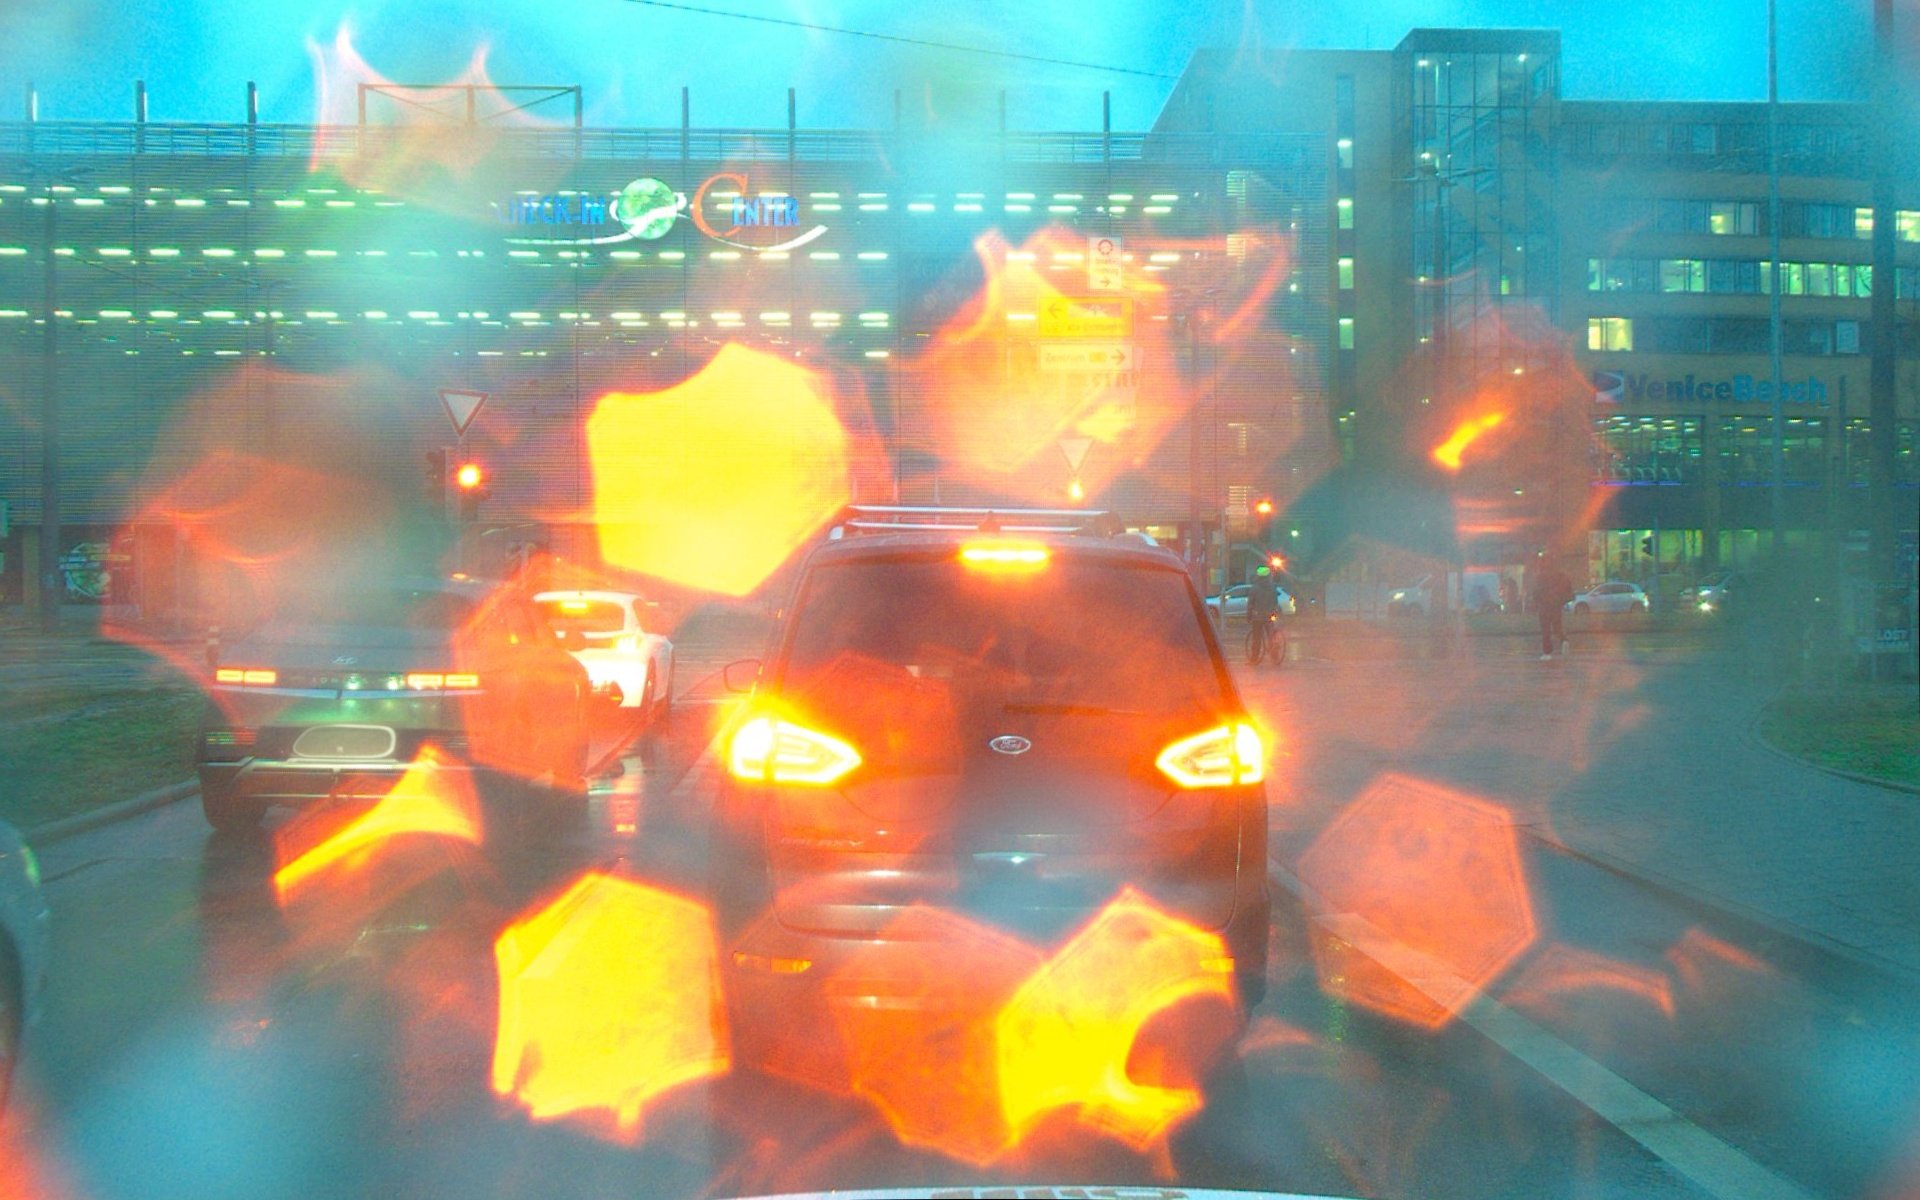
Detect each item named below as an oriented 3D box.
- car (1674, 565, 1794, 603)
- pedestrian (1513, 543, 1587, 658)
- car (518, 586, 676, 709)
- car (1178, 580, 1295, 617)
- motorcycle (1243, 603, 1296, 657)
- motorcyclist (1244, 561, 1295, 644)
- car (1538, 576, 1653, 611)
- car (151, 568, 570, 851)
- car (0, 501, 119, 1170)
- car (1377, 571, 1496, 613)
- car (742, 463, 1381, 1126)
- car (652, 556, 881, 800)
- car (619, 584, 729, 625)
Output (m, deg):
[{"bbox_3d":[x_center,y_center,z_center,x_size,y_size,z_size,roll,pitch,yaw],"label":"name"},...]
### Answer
[{"bbox_3d":[32.731,-0.673,69.955,4.348,1.561,1.797,-1,0,-8],"label":"car"},{"bbox_3d":[10.466,0.006,29.339,1.146,1.957,0.898,2,0,22],"label":"pedestrian"},{"bbox_3d":[-4.148,0.489,19.371,1.512,1.273,4.060,0,0,-8],"label":"car"},{"bbox_3d":[11.118,-0.067,66.615,4.336,1.414,1.797,-1,0,-8],"label":"car"},{"bbox_3d":[5.930,0.565,31.739,0.835,0.989,1.582,0,0,5],"label":"motorcycle"},{"bbox_3d":[5.933,0.038,31.753,0.850,1.561,1.109,0,0,5],"label":"motorcyclist"},{"bbox_3d":[26.417,-0.289,68.778,4.136,1.414,1.797,-1,0,-8],"label":"car"},{"bbox_3d":[-3.893,0.612,11.457,1.718,1.601,3.996,0,0,-5],"label":"car"},{"bbox_3d":[-3.138,0.591,2.601,1.637,1.689,4.146,2,1,-3],"label":"car"},{"bbox_3d":[19.343,-0.333,67.214,4.336,1.623,1.797,-1,0,-8],"label":"car"},{"bbox_3d":[0.179,0.523,6.646,1.700,1.768,4.244,2,0,-3],"label":"car"},{"bbox_3d":[-1.537,0.556,13.626,1.604,1.726,3.667,1,0,-5],"label":"car"},{"bbox_3d":[-11.635,0.177,67.513,4.336,1.623,1.797,-1,0,-8],"label":"car"}]
